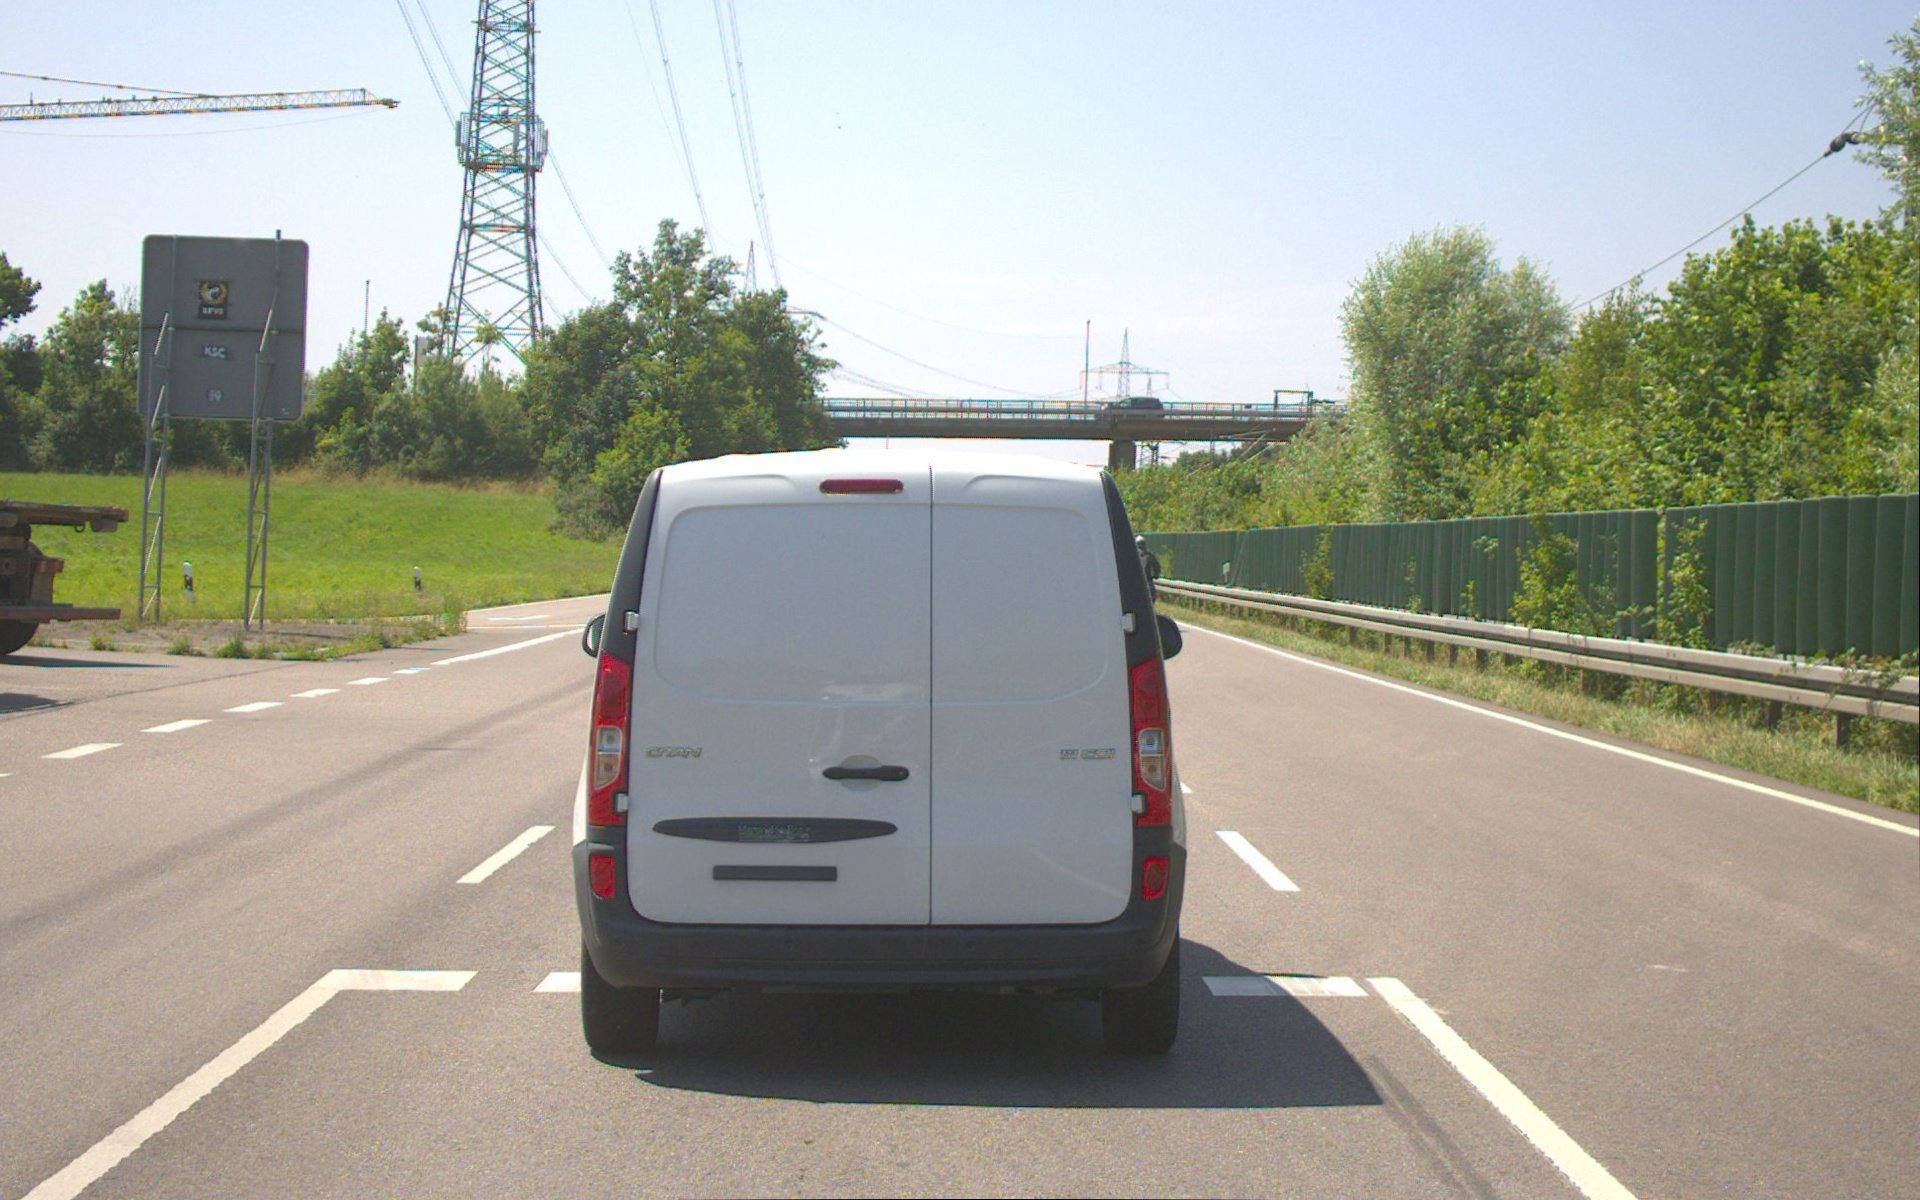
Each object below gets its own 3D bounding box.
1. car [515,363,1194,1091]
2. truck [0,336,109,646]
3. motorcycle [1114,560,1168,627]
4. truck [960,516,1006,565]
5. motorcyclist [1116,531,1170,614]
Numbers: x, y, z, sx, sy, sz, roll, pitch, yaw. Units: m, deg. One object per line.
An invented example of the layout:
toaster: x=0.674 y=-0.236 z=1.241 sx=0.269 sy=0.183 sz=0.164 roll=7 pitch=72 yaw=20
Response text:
car: x=-0.312 y=0.312 z=11.358 sx=1.827 sy=1.964 sz=4.000 roll=1 pitch=1 yaw=-1
truck: x=-14.481 y=-1.311 z=38.525 sx=9.679 sy=3.277 sz=2.827 roll=2 pitch=2 yaw=21
motorcycle: x=3.266 y=-0.122 z=62.147 sx=0.790 sy=1.153 sz=1.901 roll=1 pitch=1 yaw=-1
truck: x=1.298 y=-3.420 z=197.040 sx=2.374 sy=2.680 sz=8.010 roll=2 pitch=1 yaw=-1
motorcyclist: x=3.298 y=-0.495 z=61.980 sx=0.889 sy=1.471 sz=1.002 roll=1 pitch=1 yaw=-1
